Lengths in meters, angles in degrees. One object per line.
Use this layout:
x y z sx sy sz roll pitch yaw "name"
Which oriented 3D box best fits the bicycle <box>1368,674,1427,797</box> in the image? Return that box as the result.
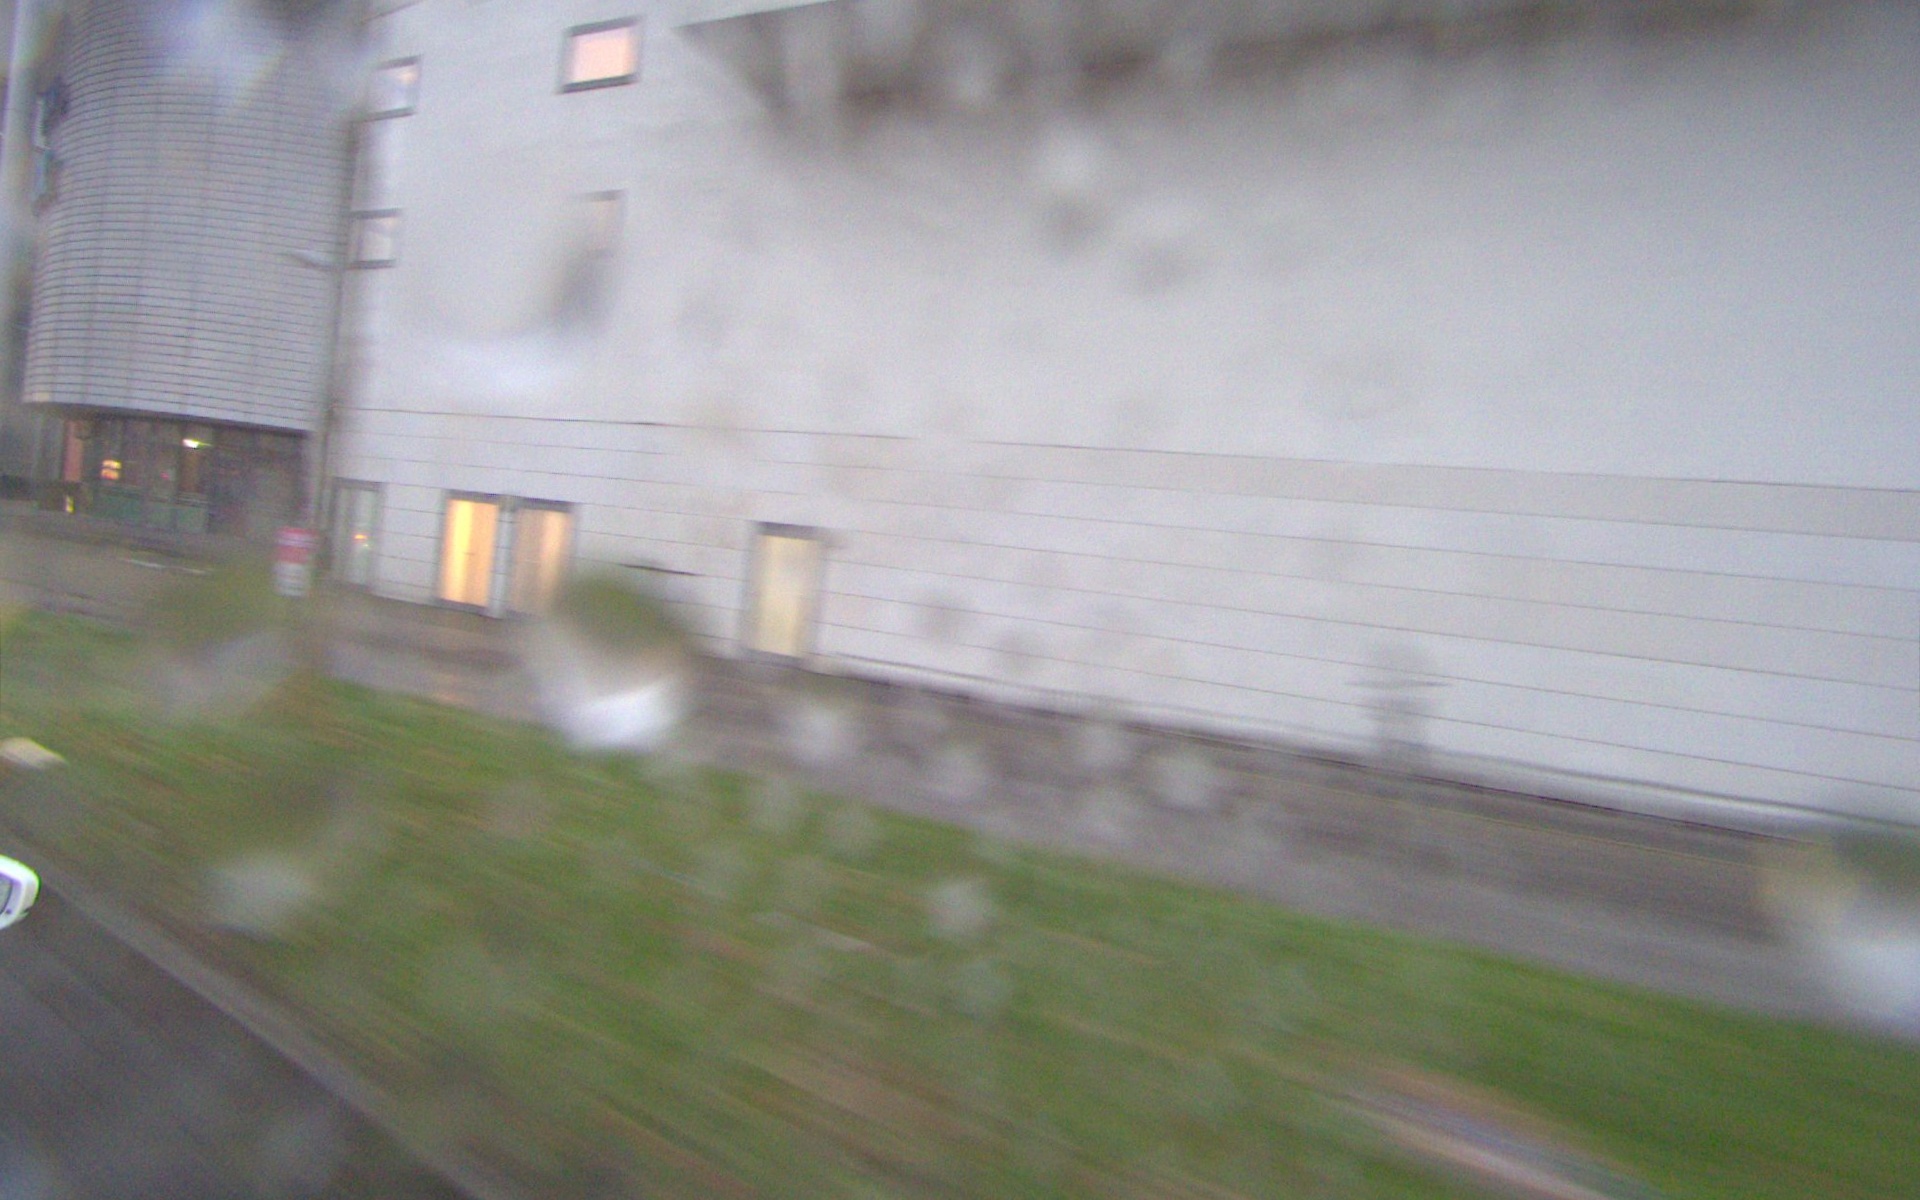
4.506 1.343 10.368 0.389 1.065 1.813 7 1 24 "bicycle"
